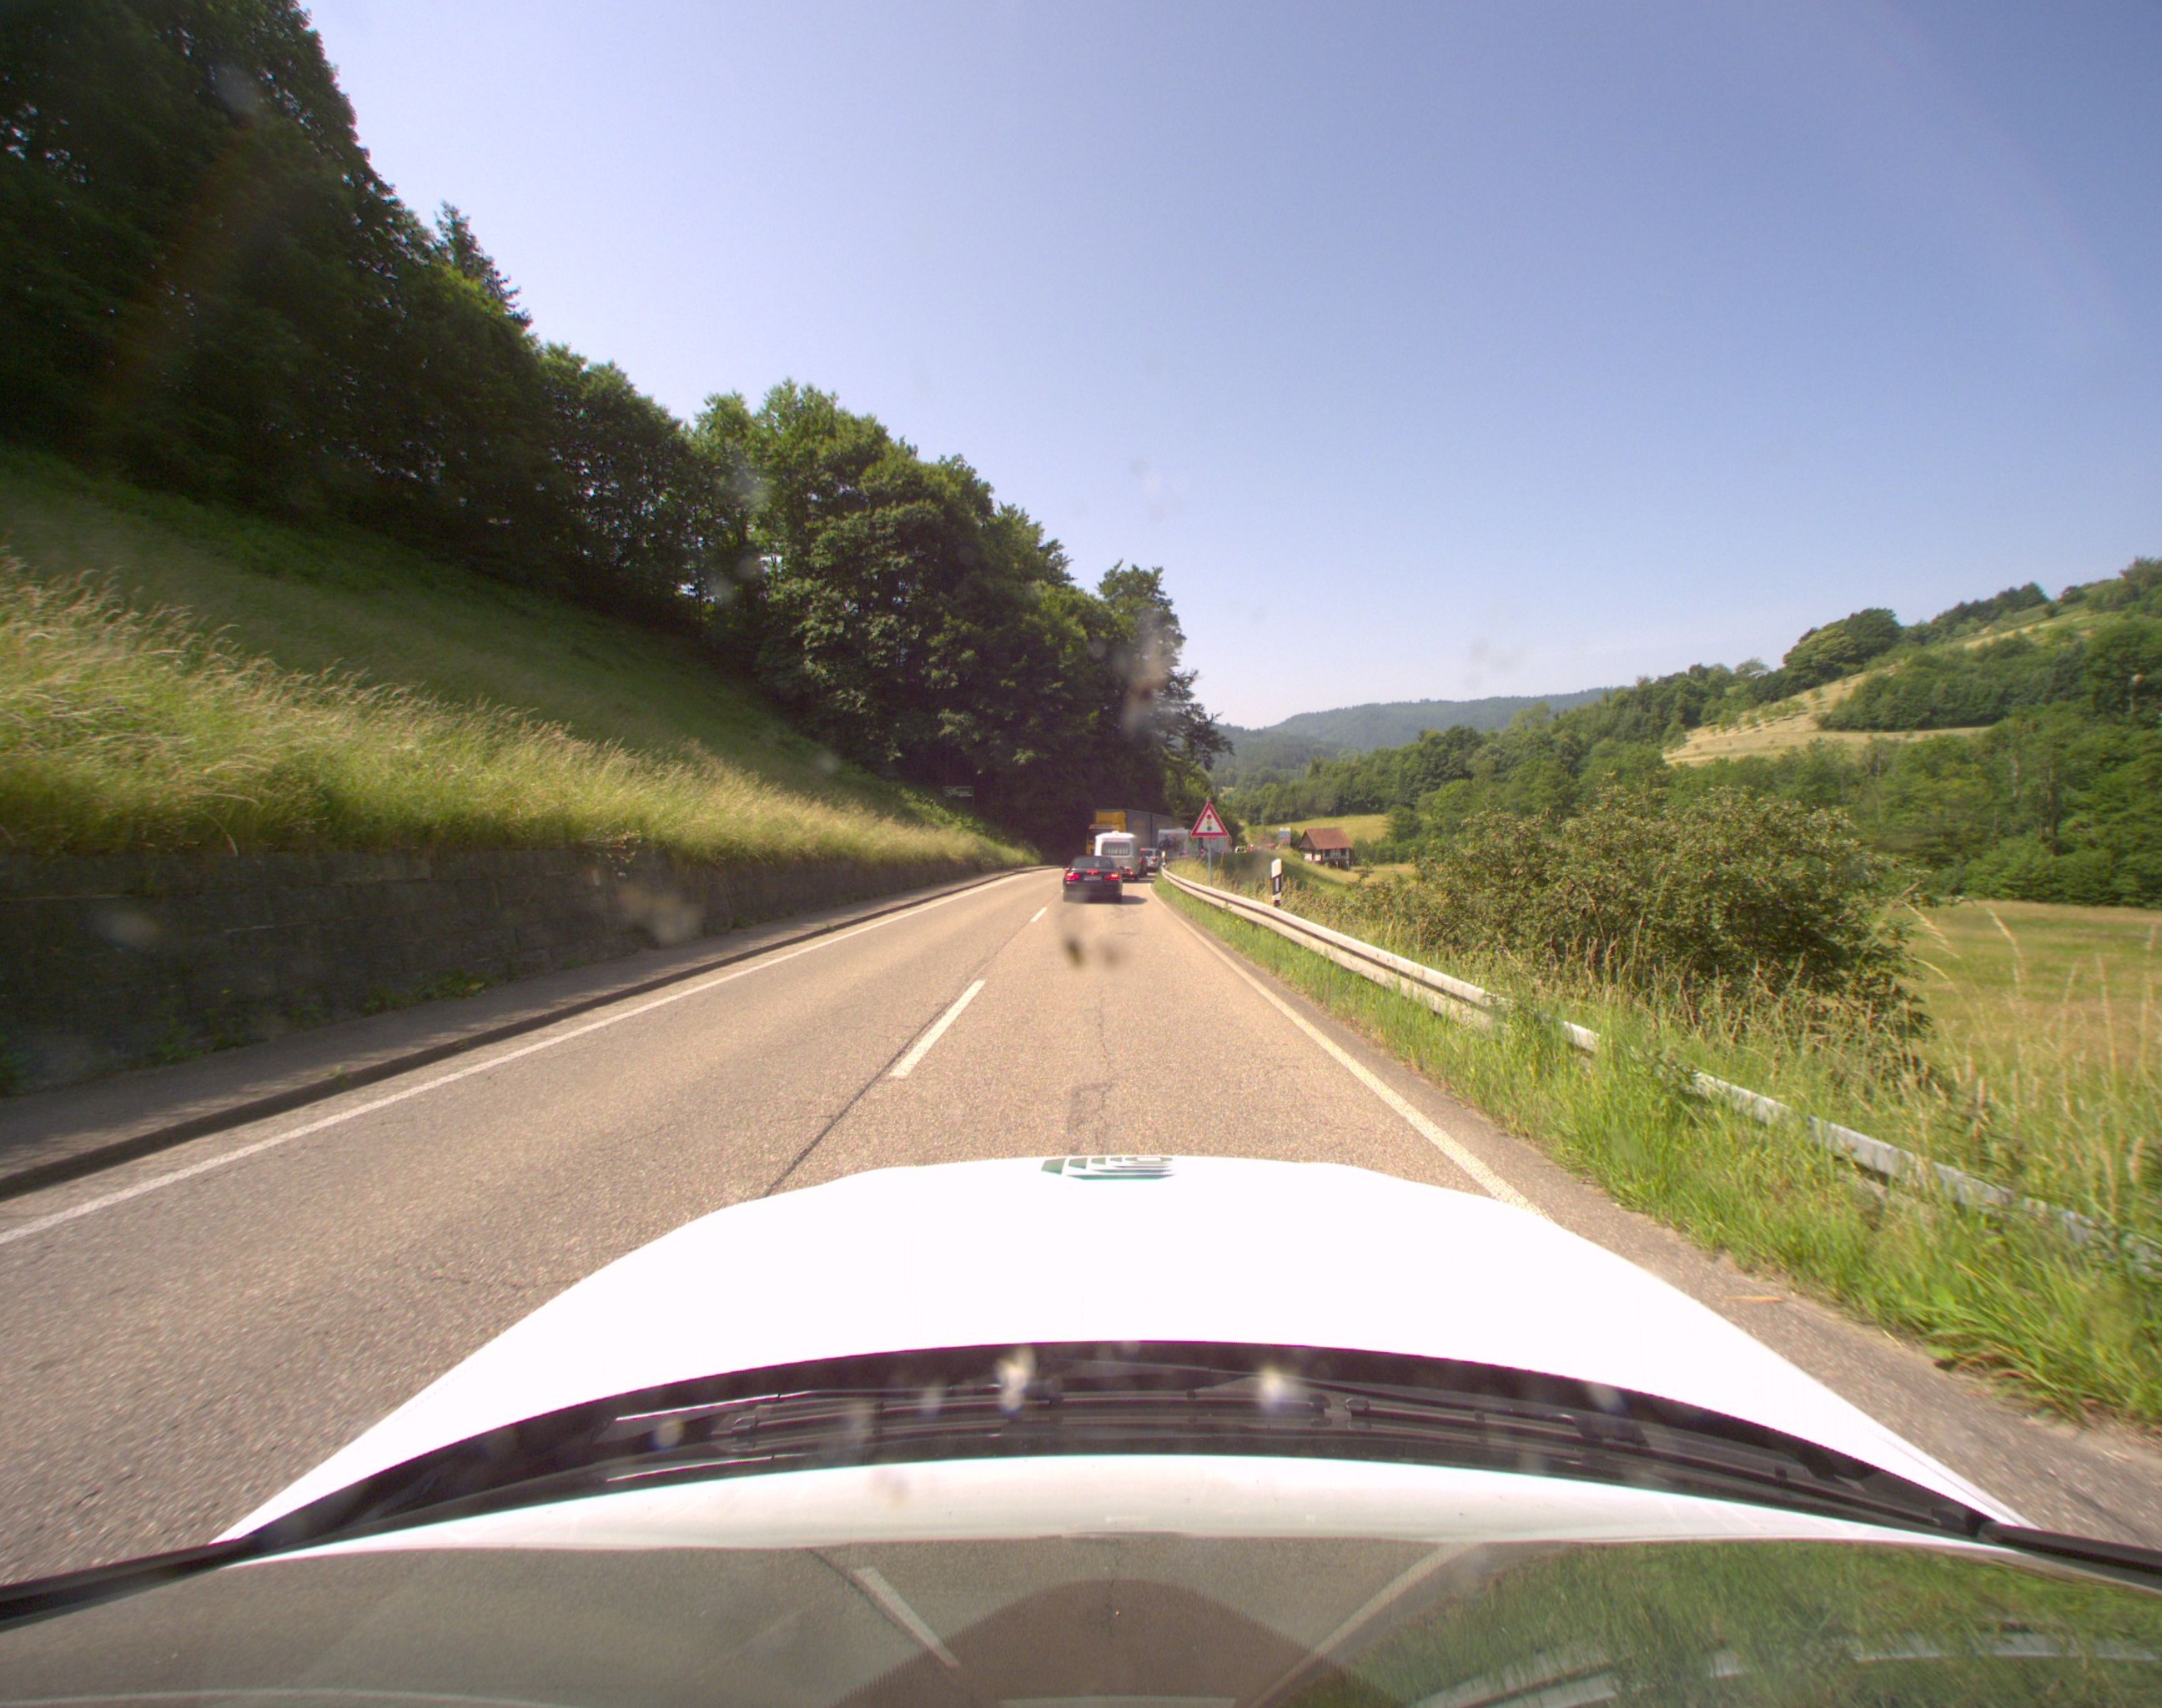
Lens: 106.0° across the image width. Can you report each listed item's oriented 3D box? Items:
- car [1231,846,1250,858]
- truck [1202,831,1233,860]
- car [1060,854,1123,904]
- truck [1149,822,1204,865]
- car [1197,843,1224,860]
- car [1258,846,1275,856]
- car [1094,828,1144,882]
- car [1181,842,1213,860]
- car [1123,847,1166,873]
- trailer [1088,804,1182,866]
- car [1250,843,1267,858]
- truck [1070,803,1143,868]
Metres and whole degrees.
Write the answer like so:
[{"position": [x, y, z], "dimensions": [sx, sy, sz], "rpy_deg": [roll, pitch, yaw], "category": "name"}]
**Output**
[{"position": [20.865, -0.293, 106.531], "dimensions": [1.891, 1.486, 4.019], "rpy_deg": [1, 0, 20], "category": "car"}, {"position": [14.235, -0.846, 84.453], "dimensions": [2.220, 2.804, 6.260], "rpy_deg": [1, 0, 18], "category": "truck"}, {"position": [0.325, 0.712, 24.917], "dimensions": [1.765, 1.335, 3.767], "rpy_deg": [1, 1, 0], "category": "car"}, {"position": [7.423, -0.805, 62.597], "dimensions": [2.769, 2.997, 6.900], "rpy_deg": [3, 2, 18], "category": "truck"}, {"position": [12.419, -0.264, 77.798], "dimensions": [1.773, 1.463, 4.021], "rpy_deg": [3, 2, 20], "category": "car"}, {"position": [30.170, -0.487, 132.427], "dimensions": [1.976, 1.575, 4.021], "rpy_deg": [1, 0, 22], "category": "car"}, {"position": [1.852, -0.020, 38.239], "dimensions": [1.983, 2.352, 4.924], "rpy_deg": [1, 2, 7], "category": "car"}, {"position": [10.242, -0.275, 71.799], "dimensions": [1.977, 1.463, 4.020], "rpy_deg": [3, 2, 19], "category": "car"}, {"position": [3.998, 0.340, 50.426], "dimensions": [1.980, 1.484, 4.015], "rpy_deg": [2, 1, 13], "category": "car"}, {"position": [4.756, -1.507, 66.448], "dimensions": [3.232, 4.417, 15.395], "rpy_deg": [1, 1, 21], "category": "trailer"}, {"position": [25.204, -0.524, 115.462], "dimensions": [1.978, 1.925, 4.018], "rpy_deg": [3, 2, 16], "category": "car"}, {"position": [1.970, -1.384, 59.051], "dimensions": [3.161, 4.396, 6.605], "rpy_deg": [2, 2, 21], "category": "truck"}]
